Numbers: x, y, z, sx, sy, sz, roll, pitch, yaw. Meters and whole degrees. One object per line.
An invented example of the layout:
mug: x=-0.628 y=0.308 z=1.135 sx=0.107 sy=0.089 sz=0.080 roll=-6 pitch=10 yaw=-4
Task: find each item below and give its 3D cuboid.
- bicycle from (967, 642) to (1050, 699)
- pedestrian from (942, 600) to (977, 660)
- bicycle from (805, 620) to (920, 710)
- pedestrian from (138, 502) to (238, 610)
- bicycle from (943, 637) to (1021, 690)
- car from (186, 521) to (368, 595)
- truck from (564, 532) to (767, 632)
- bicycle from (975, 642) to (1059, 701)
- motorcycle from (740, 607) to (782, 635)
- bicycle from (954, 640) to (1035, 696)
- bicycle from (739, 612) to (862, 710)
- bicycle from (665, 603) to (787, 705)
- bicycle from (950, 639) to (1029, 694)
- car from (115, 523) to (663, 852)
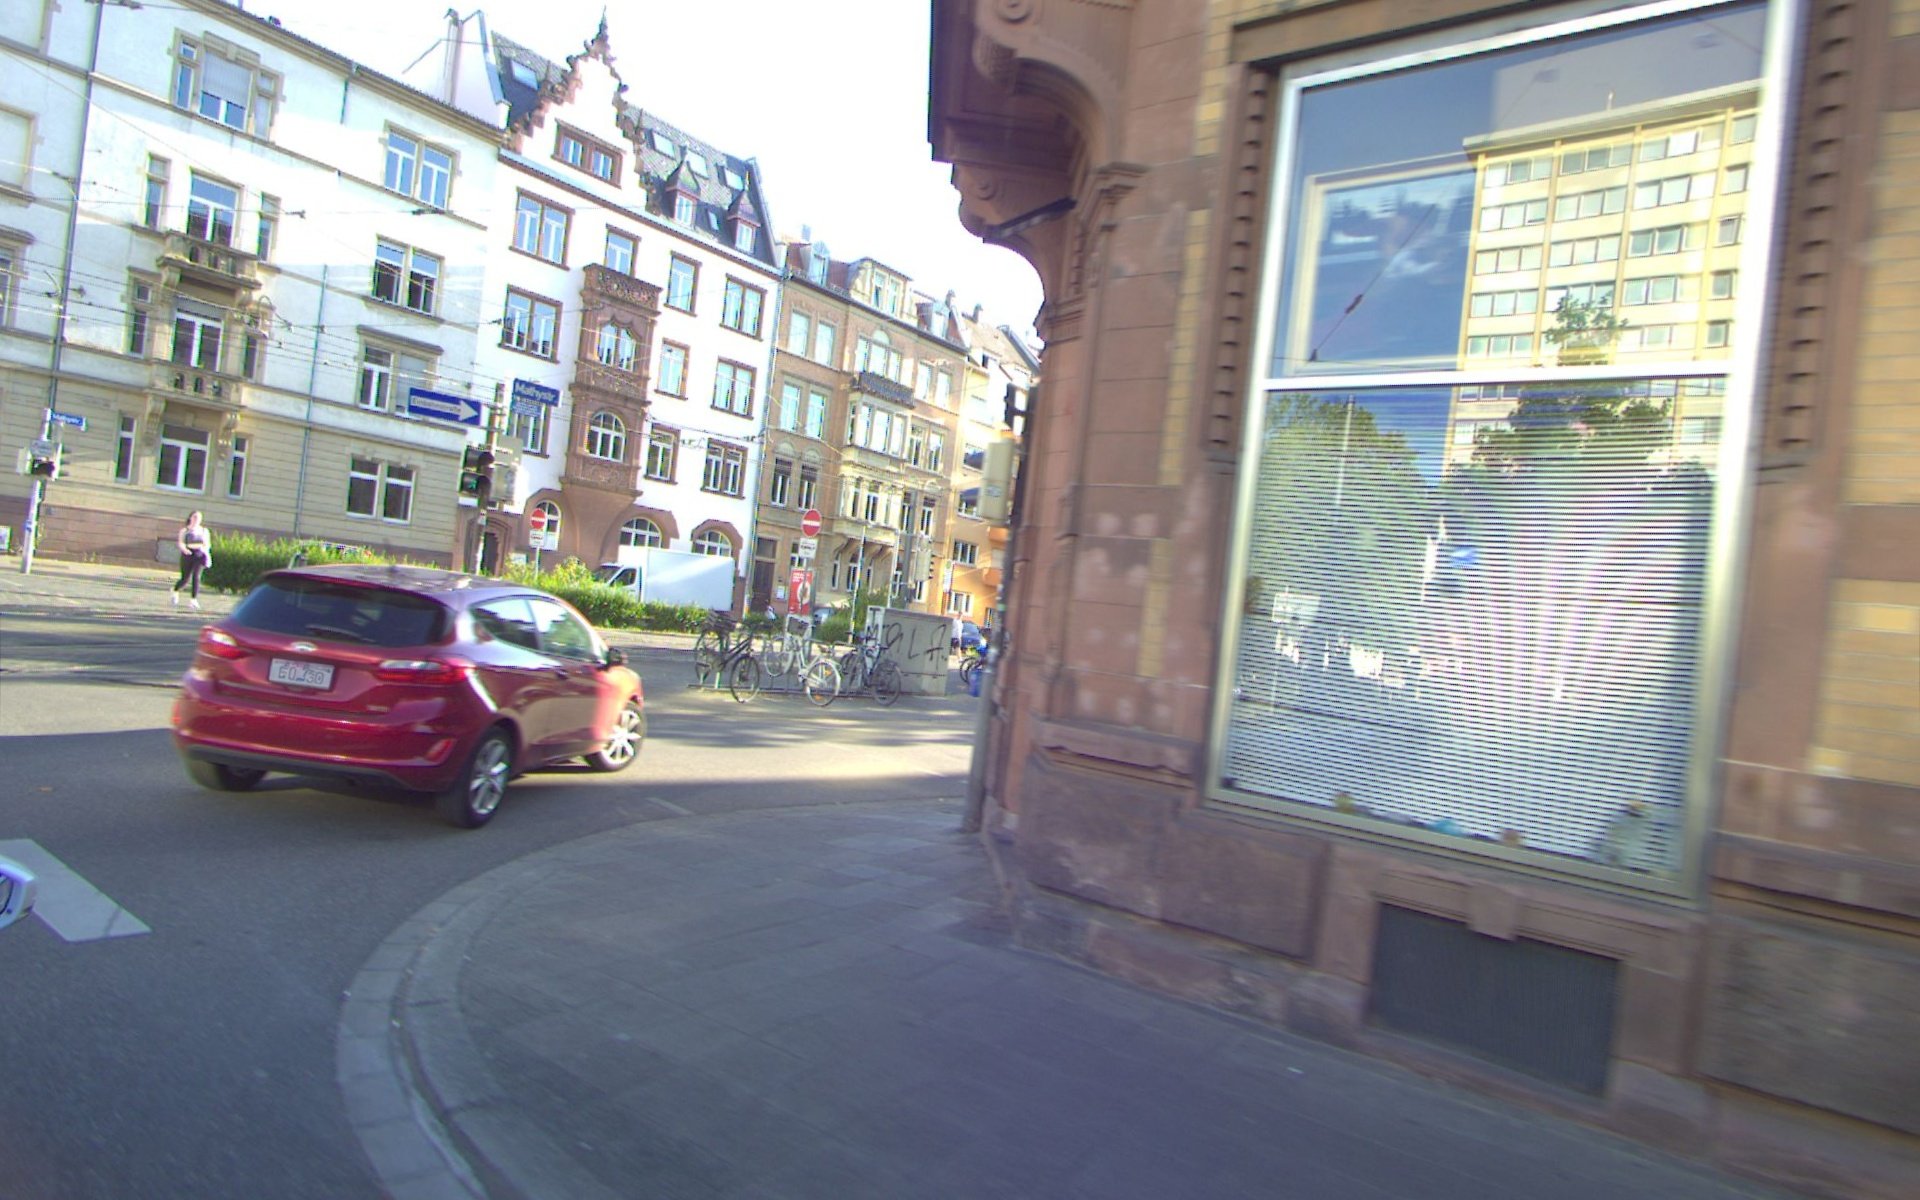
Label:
bicycle: x=1.106 y=1.603 z=22.782 sx=1.780 sy=1.121 sz=0.496 roll=7 pitch=-1 yaw=-30
pedestrian: x=-0.012 y=1.096 z=36.669 sx=0.602 sy=2.039 sz=0.853 roll=5 pitch=3 yaw=-45
bicycle: x=-1.761 y=1.149 z=17.991 sx=1.938 sy=1.279 sz=0.753 roll=9 pitch=1 yaw=39
pedestrian: x=-14.390 y=-0.809 z=18.768 sx=1.065 sy=1.829 sz=1.024 roll=7 pitch=0 yaw=31
bicycle: x=0.554 y=1.596 z=25.290 sx=1.771 sy=1.121 sz=0.499 roll=7 pitch=0 yaw=-14
car: x=-21.219 y=-1.283 z=31.375 sx=1.918 sy=1.651 sz=4.252 roll=7 pitch=-1 yaw=42
truck: x=-12.052 y=-0.621 z=42.002 sx=2.295 sy=3.117 sz=8.057 roll=7 pitch=-1 yaw=38
bicycle: x=1.284 y=1.601 z=22.383 sx=1.780 sy=1.121 sz=0.496 roll=7 pitch=-1 yaw=-30
motorcycle: x=-7.732 y=0.827 z=39.059 sx=1.731 sy=1.031 sz=0.605 roll=-1 pitch=-5 yaw=38
bicycle: x=0.811 y=1.572 z=23.189 sx=1.780 sy=1.121 sz=0.496 roll=7 pitch=-1 yaw=-30
bicycle: x=-2.632 y=0.988 z=16.499 sx=1.938 sy=1.279 sz=0.753 roll=9 pitch=1 yaw=39
bicycle: x=-3.629 y=0.825 z=15.527 sx=1.807 sy=1.279 sz=0.753 roll=9 pitch=1 yaw=39
bicycle: x=0.700 y=1.579 z=23.865 sx=1.780 sy=1.121 sz=0.496 roll=7 pitch=-1 yaw=-30
car: x=-3.532 y=0.526 z=7.092 sx=1.666 sy=1.512 sz=3.582 roll=8 pitch=-2 yaw=0
